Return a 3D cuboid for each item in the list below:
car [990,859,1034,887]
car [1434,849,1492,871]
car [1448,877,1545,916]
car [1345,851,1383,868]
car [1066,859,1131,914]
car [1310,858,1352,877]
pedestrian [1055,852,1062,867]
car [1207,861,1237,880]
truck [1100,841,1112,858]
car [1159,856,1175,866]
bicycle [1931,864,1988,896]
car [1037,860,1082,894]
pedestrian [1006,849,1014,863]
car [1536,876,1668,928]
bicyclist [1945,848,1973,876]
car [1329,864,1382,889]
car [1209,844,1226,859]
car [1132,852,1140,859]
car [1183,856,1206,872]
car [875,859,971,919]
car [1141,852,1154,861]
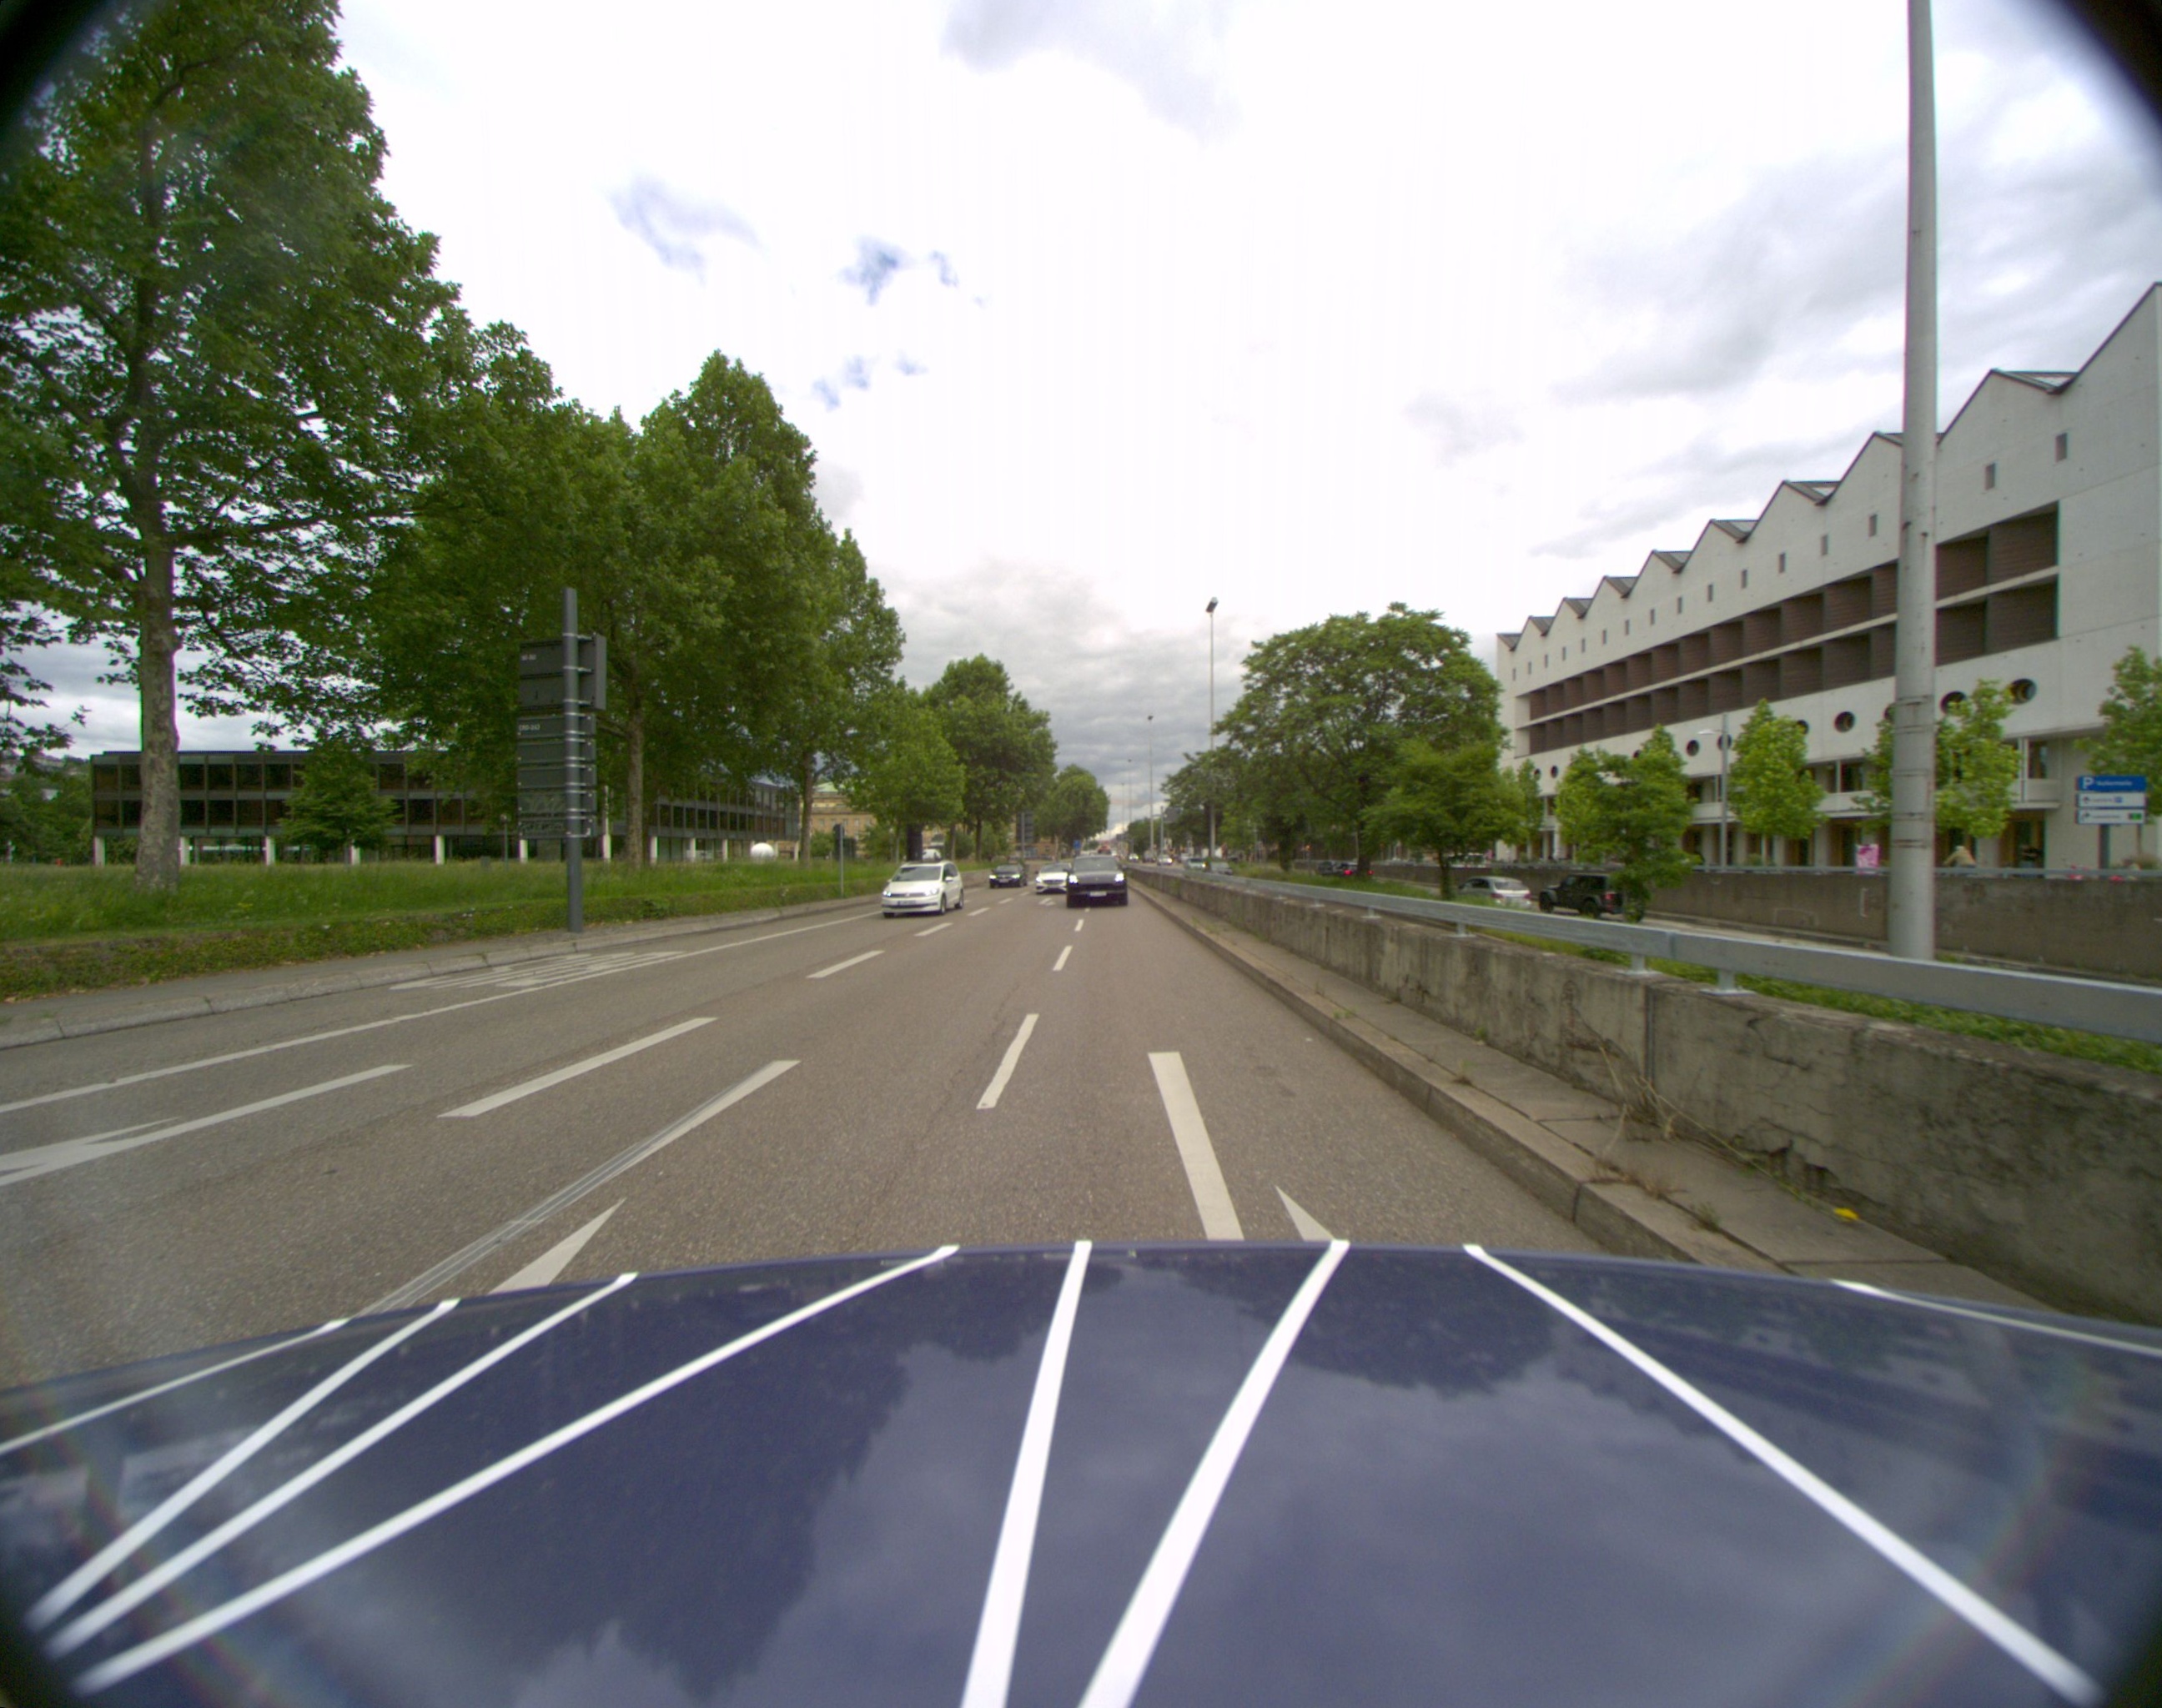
[{"bbox_3d":[-4.078,1.077,45.587,1.936,1.451,4.527,-2,1,3],"label":"car"},{"bbox_3d":[28.867,0.424,57.532,1.955,1.619,4.490,-1,0,-2],"label":"car"},{"bbox_3d":[17.894,1.806,32.939,1.998,1.390,4.000,2,0,1],"label":"car"},{"bbox_3d":[28.502,0.491,76.656,1.955,1.619,4.490,-1,0,-2],"label":"car"},{"bbox_3d":[0.661,0.992,25.088,1.904,1.580,4.733,-1,0,3],"label":"car"},{"bbox_3d":[20.413,1.077,62.296,1.999,1.390,3.999,2,0,-2],"label":"car"},{"bbox_3d":[-3.033,0.792,102.449,0.792,2.001,0.741,0,-1,2],"label":"pedestrian"},{"bbox_3d":[10.754,1.239,58.220,1.559,1.406,4.092,-1,0,0],"label":"car"},{"bbox_3d":[5.326,-0.991,162.340,2.357,3.517,9.425,-2,1,2],"label":"truck"},{"bbox_3d":[11.997,0.954,106.247,1.657,1.406,4.092,-1,0,0],"label":"car"},{"bbox_3d":[36.789,1.060,31.837,0.403,1.265,1.699,-2,1,-1],"label":"bicycle"},{"bbox_3d":[-0.955,1.039,36.141,1.799,1.411,4.528,-1,0,3],"label":"car"},{"bbox_3d":[-9.741,0.271,104.401,0.892,2.002,1.181,-2,1,2],"label":"pedestrian"},{"bbox_3d":[21.074,1.865,31.002,2.161,1.635,4.516,2,2,-1],"label":"car"},{"bbox_3d":[36.762,0.340,31.804,0.403,1.153,0.643,-2,1,-1],"label":"bicyclist"},{"bbox_3d":[17.588,1.397,48.866,1.998,1.390,4.000,2,0,1],"label":"car"},{"bbox_3d":[18.125,-0.384,101.060,1.609,1.844,4.000,-2,1,2],"label":"car"},{"bbox_3d":[11.487,0.314,158.883,1.372,1.390,3.722,2,0,1],"label":"car"},{"bbox_3d":[11.087,0.966,74.229,1.559,1.406,4.091,-1,0,-1],"label":"car"},{"bbox_3d":[-4.842,1.023,23.943,1.998,1.630,4.304,-1,0,1],"label":"car"},{"bbox_3d":[11.093,0.379,126.994,1.787,1.406,4.092,-1,0,0],"label":"car"}]
